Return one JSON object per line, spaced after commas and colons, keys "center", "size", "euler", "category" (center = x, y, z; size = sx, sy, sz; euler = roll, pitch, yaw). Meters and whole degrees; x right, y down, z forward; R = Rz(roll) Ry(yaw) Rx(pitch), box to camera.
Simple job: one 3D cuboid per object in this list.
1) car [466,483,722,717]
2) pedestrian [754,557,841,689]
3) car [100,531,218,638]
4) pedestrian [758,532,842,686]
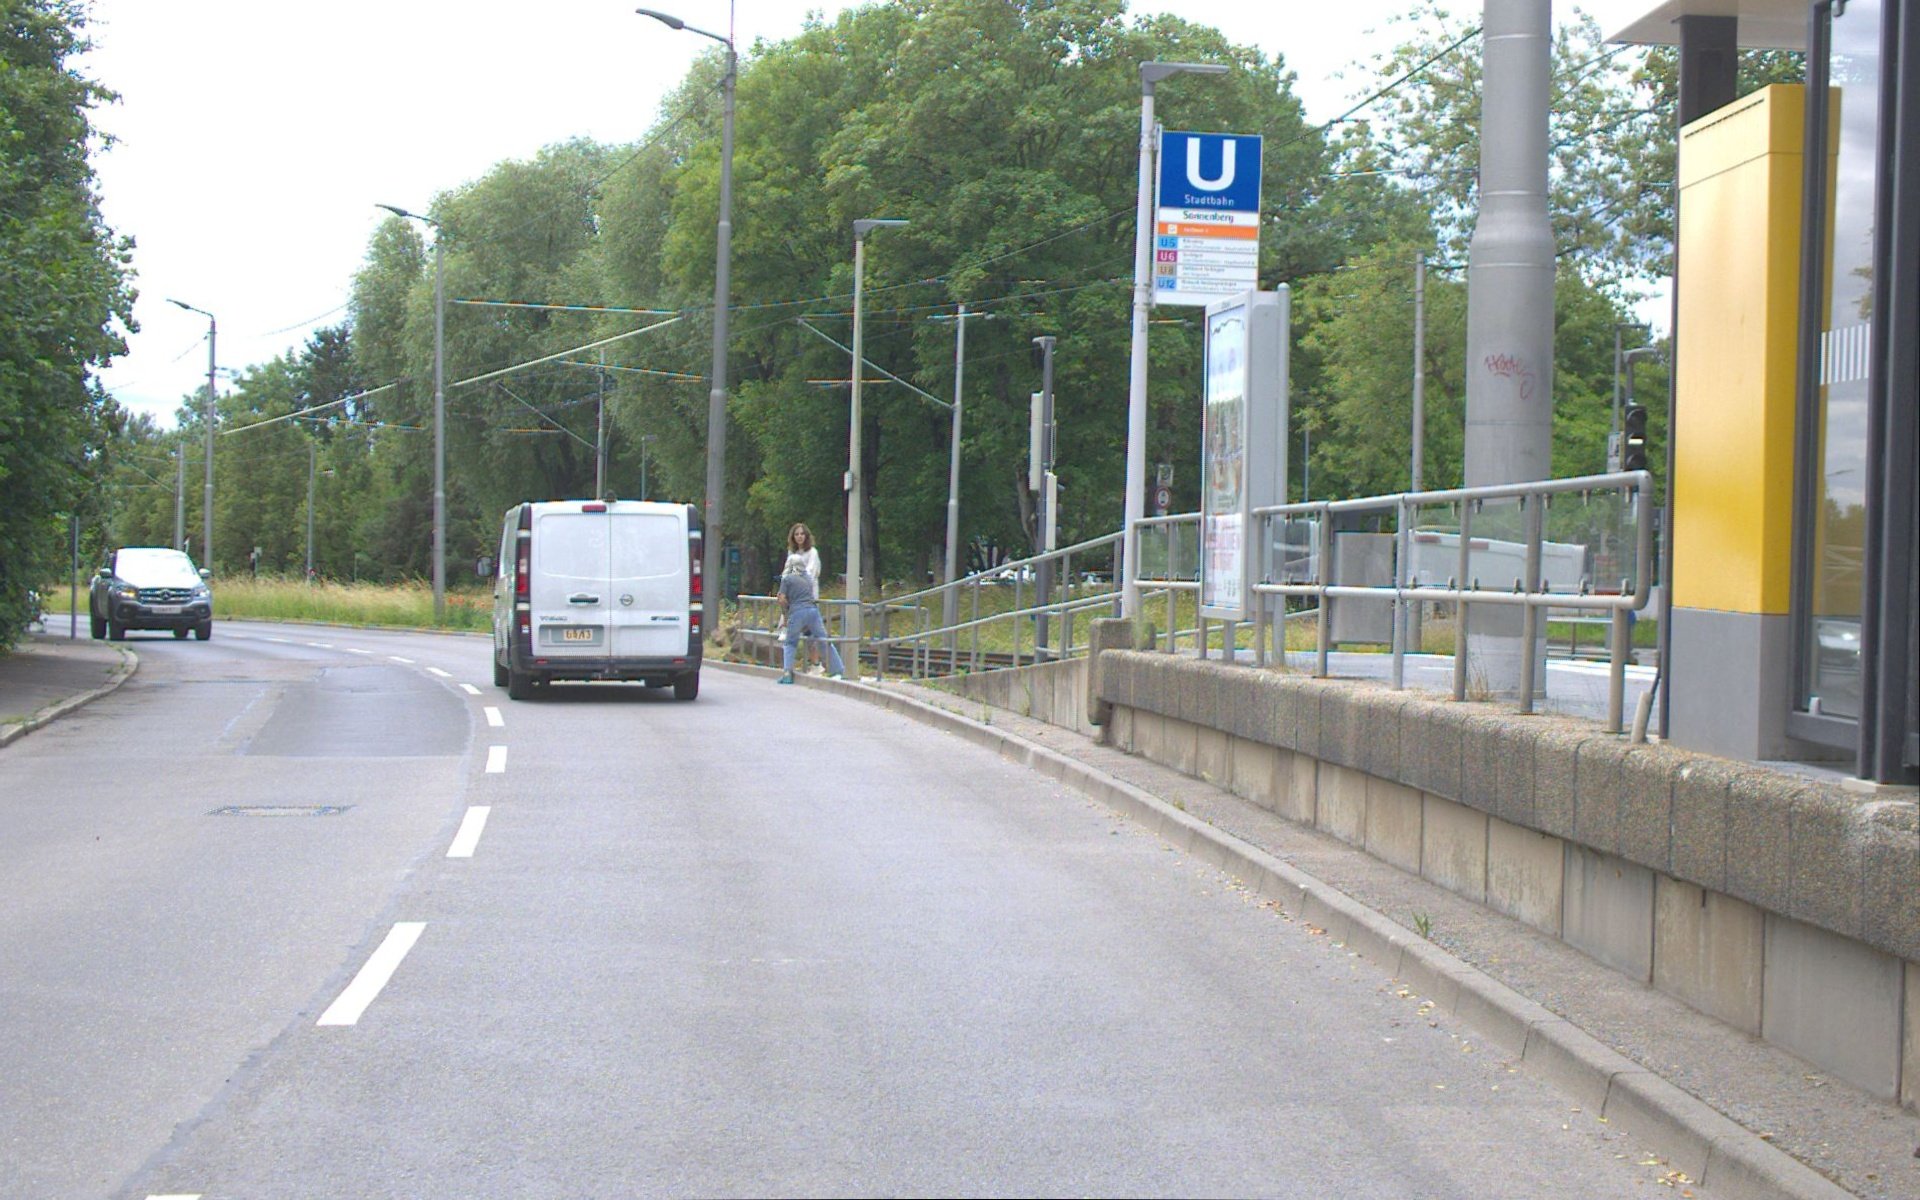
{"center": [-3.831, -0.023, 35.138], "size": [2.116, 2.127, 5.442], "euler": [2, 0, -10], "category": "car"}
{"center": [-1.850, 0.259, 39.078], "size": [0.758, 1.487, 0.631], "euler": [1, 0, -28], "category": "pedestrian"}
{"center": [-15.741, -0.324, 67.437], "size": [1.993, 2.007, 4.325], "euler": [1, 1, -16], "category": "car"}
{"center": [-1.891, 0.101, 40.494], "size": [0.758, 1.789, 0.631], "euler": [1, 0, -28], "category": "pedestrian"}
